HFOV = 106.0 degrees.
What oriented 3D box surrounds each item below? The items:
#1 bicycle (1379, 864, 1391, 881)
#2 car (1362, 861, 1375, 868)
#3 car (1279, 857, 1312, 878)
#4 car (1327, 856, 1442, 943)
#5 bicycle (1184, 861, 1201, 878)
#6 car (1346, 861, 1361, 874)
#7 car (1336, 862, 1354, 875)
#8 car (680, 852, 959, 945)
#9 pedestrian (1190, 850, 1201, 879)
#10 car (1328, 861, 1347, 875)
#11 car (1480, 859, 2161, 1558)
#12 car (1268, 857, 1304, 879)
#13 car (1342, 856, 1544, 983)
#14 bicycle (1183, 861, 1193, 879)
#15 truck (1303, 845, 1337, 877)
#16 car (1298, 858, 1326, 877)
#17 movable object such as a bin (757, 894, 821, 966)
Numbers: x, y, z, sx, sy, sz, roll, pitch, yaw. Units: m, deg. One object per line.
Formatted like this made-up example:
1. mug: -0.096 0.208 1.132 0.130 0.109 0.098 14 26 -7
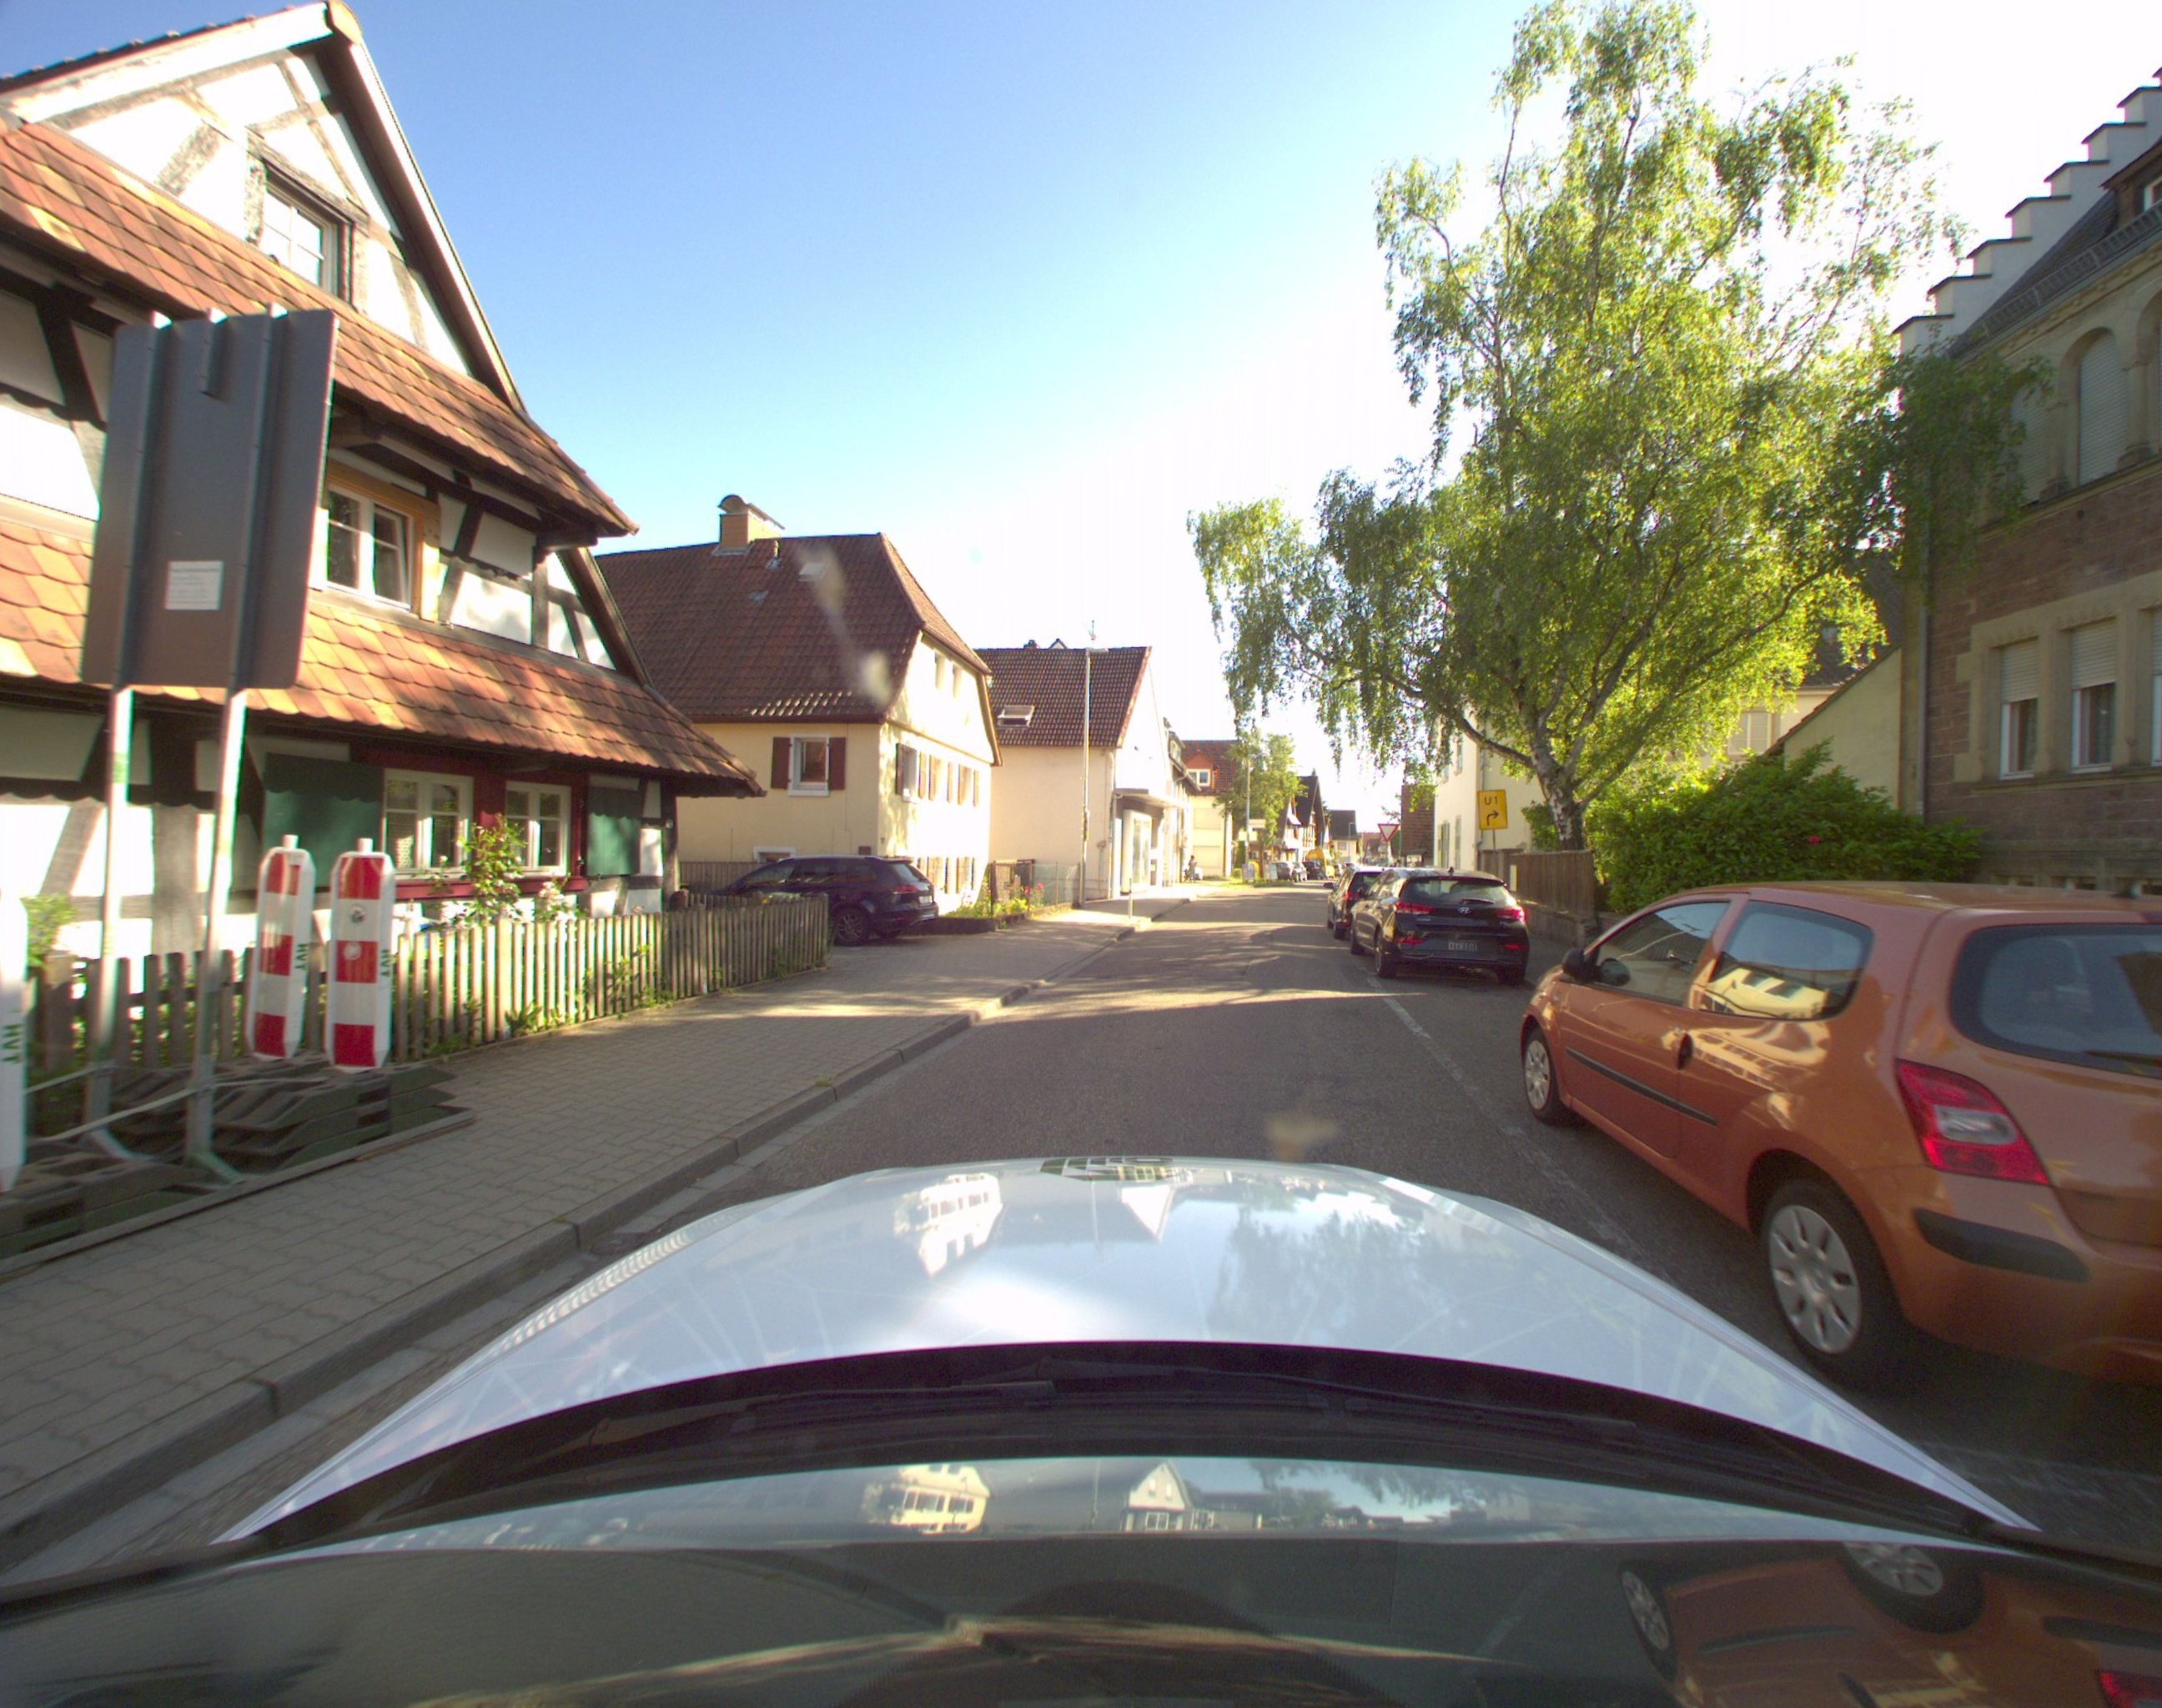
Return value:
1. bicycle: 21.780 1.289 58.279 0.429 1.176 1.840 1 0 31
2. car: 64.937 2.305 183.994 1.961 1.583 4.005 2 0 10
3. car: 16.642 1.074 63.064 1.790 1.506 4.130 1 -1 24
4. car: 6.009 0.806 16.572 1.794 1.436 4.303 2 1 15
5. bicycle: 7.170 1.029 52.172 0.573 1.052 2.046 1 -1 22
6. car: 32.313 1.550 96.573 1.575 1.443 3.633 2 0 21
7. car: 28.769 1.522 88.695 1.575 1.336 3.633 2 0 21
8. car: -4.409 0.732 14.038 4.134 1.462 1.853 -1 0 8
9. pedestrian: 6.875 0.638 48.878 0.479 1.693 0.559 2 -2 19
10. car: 26.618 1.436 84.541 1.631 1.432 3.633 2 0 21
11. car: 3.227 0.805 3.632 1.637 1.478 3.946 2 1 11
12. car: 14.875 1.021 59.016 1.851 1.506 4.130 1 -1 24
13. car: 5.037 0.787 11.964 1.796 1.436 4.299 2 1 11
14. bicycle: 6.419 0.975 48.825 0.420 1.052 1.387 1 -1 16
15. truck: 22.440 0.674 76.369 2.248 2.868 5.814 1 -1 24
16. car: 20.254 1.175 71.290 1.790 1.622 3.902 1 -1 24
17. movable object such as a bin: -3.922 1.000 10.932 0.578 0.898 0.559 -2 -1 33
